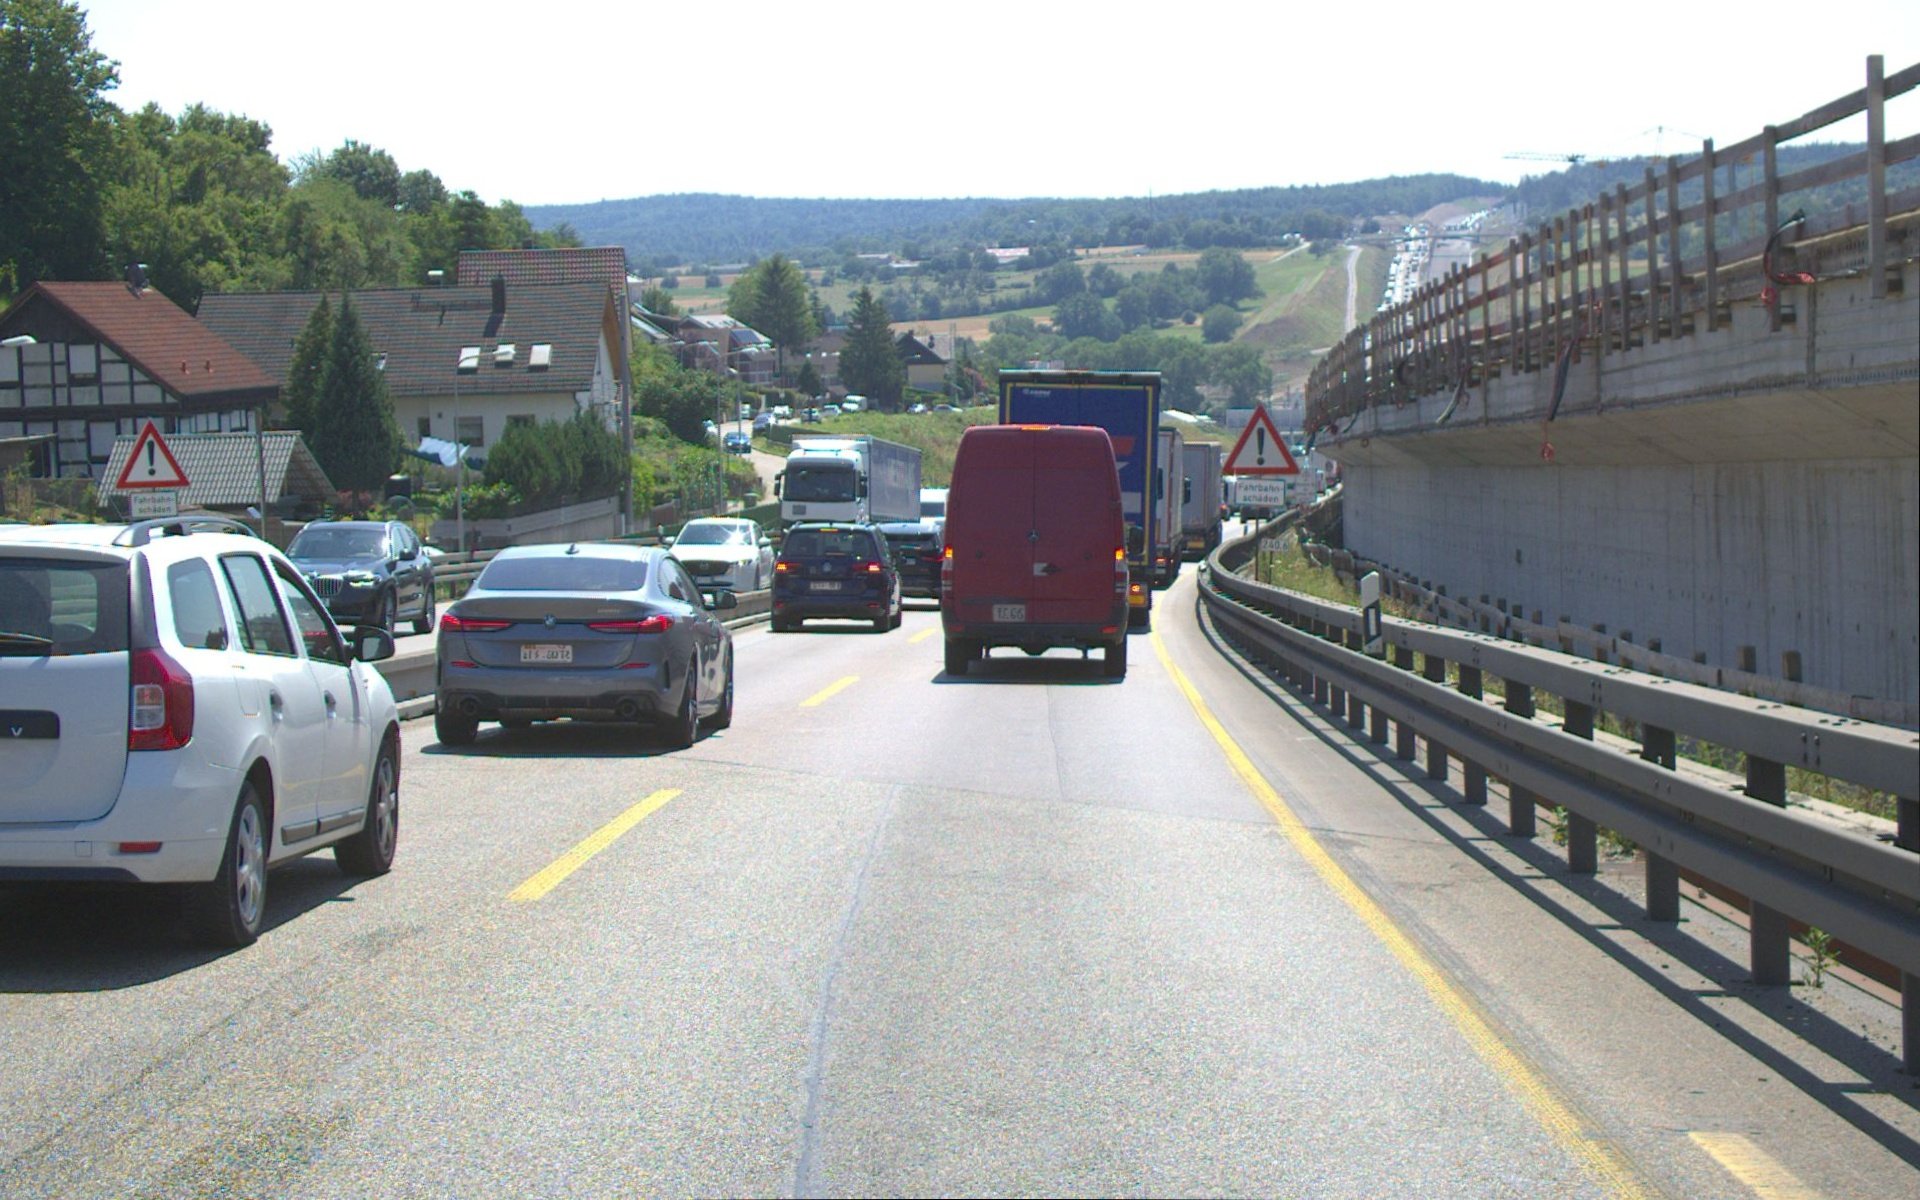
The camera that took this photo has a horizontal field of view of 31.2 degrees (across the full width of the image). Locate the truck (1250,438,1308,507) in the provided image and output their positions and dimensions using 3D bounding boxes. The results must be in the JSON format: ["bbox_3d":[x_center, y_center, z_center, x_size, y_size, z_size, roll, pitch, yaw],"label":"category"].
[{"bbox_3d":[21.562,-8.558,232.570,3.467,4.366,8.556,0,0,3],"label":"truck"}]

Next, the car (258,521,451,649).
[{"bbox_3d":[-8.634,-0.210,49.407,1.905,1.736,4.662,0,0,1],"label":"car"}]

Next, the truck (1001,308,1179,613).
[{"bbox_3d":[2.279,-2.211,59.123,2.786,4.799,9.684,0,0,3],"label":"truck"}]

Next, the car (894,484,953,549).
[{"bbox_3d":[-1.488,-3.447,141.082,2.005,2.594,5.979,0,1,3],"label":"car"}]

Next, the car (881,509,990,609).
[{"bbox_3d":[-0.442,-0.763,65.595,1.729,1.832,3.999,0,0,4],"label":"car"}]

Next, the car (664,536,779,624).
[{"bbox_3d":[-4.699,-0.381,68.255,1.750,1.681,4.387,0,0,3],"label":"car"}]

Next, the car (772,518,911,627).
[{"bbox_3d":[-1.773,-0.414,52.616,1.810,1.602,3.719,0,0,3],"label":"car"}]

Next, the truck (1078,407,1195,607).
[{"bbox_3d":[4.472,-2.251,87.646,2.786,4.799,9.684,0,0,3],"label":"truck"}]

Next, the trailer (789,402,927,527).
[{"bbox_3d":[-3.370,-4.557,117.785,3.136,4.065,11.817,0,1,6],"label":"trailer"}]

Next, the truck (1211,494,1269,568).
[{"bbox_3d":[17.245,-4.204,211.484,3.070,4.366,8.554,0,0,8],"label":"truck"}]

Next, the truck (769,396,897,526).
[{"bbox_3d":[-4.052,-4.456,111.377,3.136,4.065,6.878,0,1,6],"label":"truck"}]

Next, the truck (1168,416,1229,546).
[{"bbox_3d":[8.241,-4.080,119.142,1.994,4.366,4.000,0,0,3],"label":"truck"}]

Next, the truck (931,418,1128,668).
[{"bbox_3d":[0.810,-0.597,37.453,1.994,2.570,4.000,0,0,3],"label":"truck"}]

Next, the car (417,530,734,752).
[{"bbox_3d":[-2.700,0.245,24.976,1.794,1.480,4.050,0,1,1],"label":"car"}]

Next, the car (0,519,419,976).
[{"bbox_3d":[-3.327,0.484,13.406,1.651,1.478,4.266,-2,0,1],"label":"car"}]
